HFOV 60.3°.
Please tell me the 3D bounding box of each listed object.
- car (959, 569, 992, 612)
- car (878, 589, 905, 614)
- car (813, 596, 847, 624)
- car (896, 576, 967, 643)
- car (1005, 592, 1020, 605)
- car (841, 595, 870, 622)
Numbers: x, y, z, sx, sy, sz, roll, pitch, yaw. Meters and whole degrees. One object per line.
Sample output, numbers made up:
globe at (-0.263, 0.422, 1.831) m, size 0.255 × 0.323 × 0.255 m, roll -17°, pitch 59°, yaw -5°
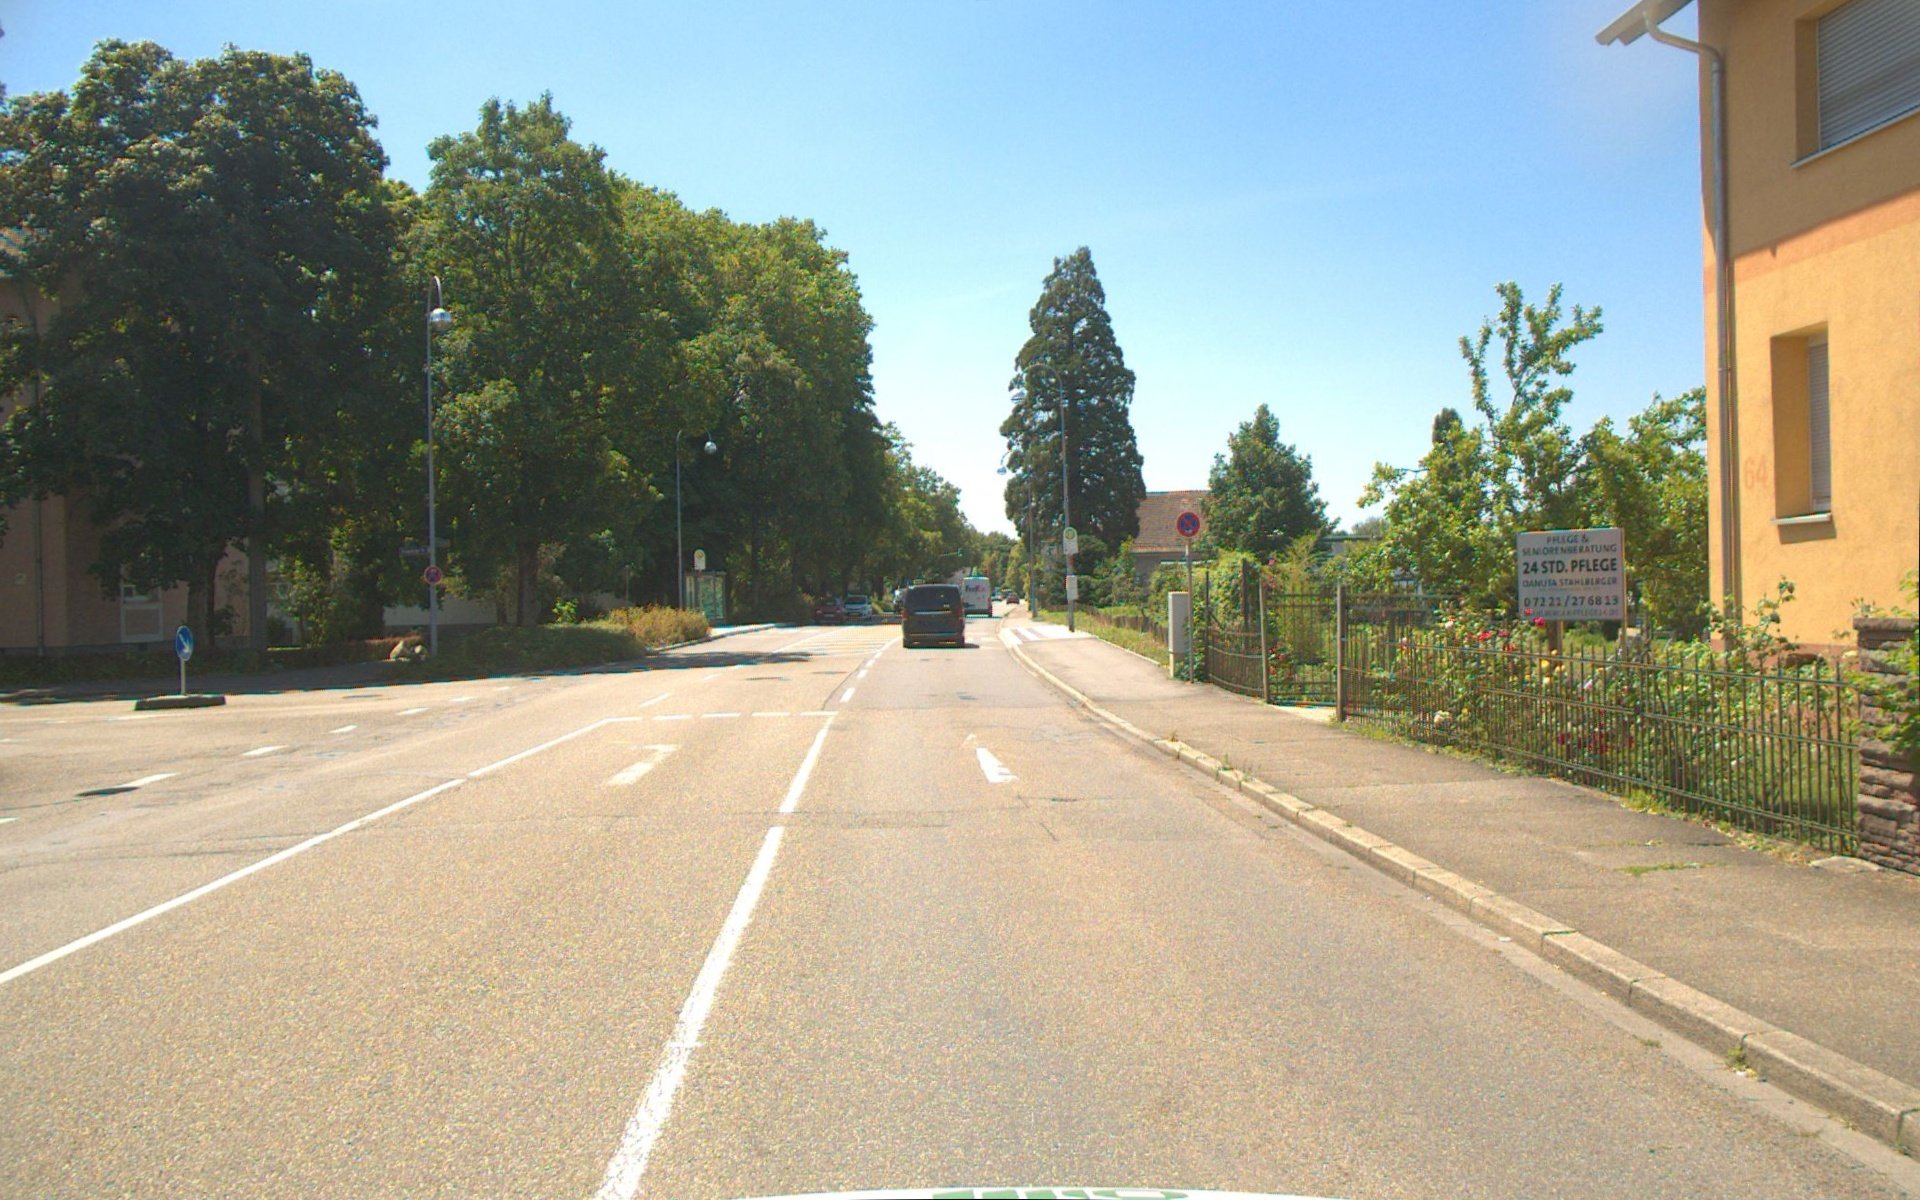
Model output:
car at (0.973, -0.668, 109.566) m, size 2.077 × 2.724 × 5.662 m, roll 0°, pitch 1°, yaw -1°
car at (-5.568, 0.090, 134.011) m, size 1.954 × 1.943 × 4.986 m, roll 0°, pitch 1°, yaw -5°
car at (-6.968, 0.533, 89.043) m, size 1.518 × 1.476 × 3.690 m, roll 0°, pitch 0°, yaw 0°
car at (-0.808, 0.239, 49.658) m, size 1.952 × 1.926 × 4.001 m, roll 0°, pitch 1°, yaw 2°
car at (7.211, -0.224, 227.437) m, size 1.820 × 1.671 × 3.999 m, roll 0°, pitch 1°, yaw -1°
car at (-6.189, 0.470, 97.789) m, size 1.657 × 1.485 × 3.637 m, roll 0°, pitch 1°, yaw -4°
